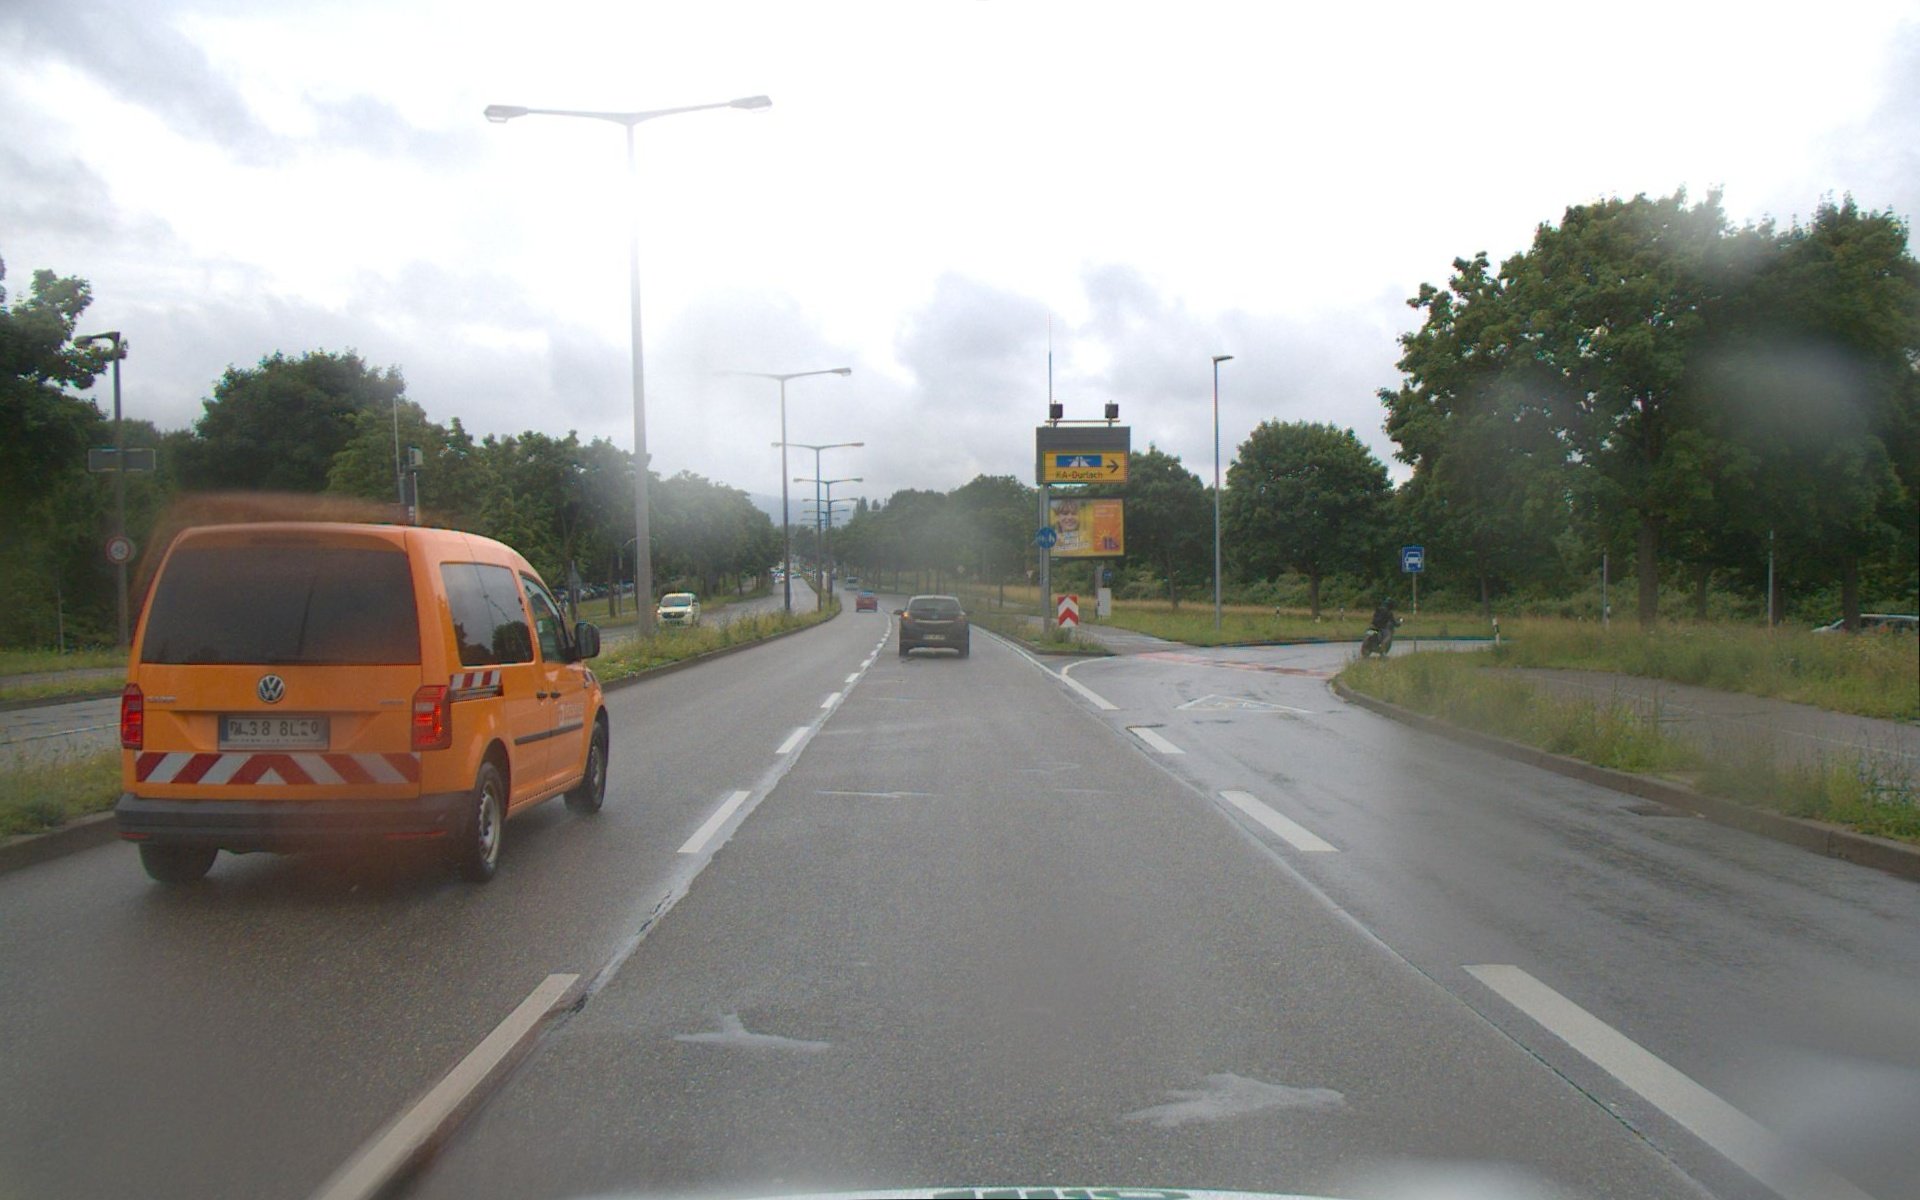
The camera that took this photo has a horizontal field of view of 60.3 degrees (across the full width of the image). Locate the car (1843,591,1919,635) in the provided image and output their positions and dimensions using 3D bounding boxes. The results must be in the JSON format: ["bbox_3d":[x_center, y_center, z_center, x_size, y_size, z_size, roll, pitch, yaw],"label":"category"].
[{"bbox_3d":[44.330,0.600,78.256,4.506,2.009,2.062,0,0,29],"label":"car"}]

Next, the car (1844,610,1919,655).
[{"bbox_3d":[36.236,1.225,63.272,3.908,1.646,1.859,1,0,-4],"label":"car"}]

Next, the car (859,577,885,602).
[{"bbox_3d":[-6.748,-0.784,127.115,1.953,1.912,3.998,0,0,-2],"label":"car"}]

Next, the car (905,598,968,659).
[{"bbox_3d":[-0.598,0.652,39.853,1.433,1.352,3.756,0,1,-2],"label":"car"}]

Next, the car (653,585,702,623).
[{"bbox_3d":[-13.475,0.166,79.145,1.673,1.658,4.490,-3,1,-2],"label":"car"}]

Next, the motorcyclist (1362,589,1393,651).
[{"bbox_3d":[11.819,0.554,46.803,0.590,1.719,0.858,1,1,33],"label":"motorcyclist"}]

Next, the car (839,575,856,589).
[{"bbox_3d":[-17.495,-2.728,256.541,2.467,2.088,5.287,-1,0,-6],"label":"car"}]

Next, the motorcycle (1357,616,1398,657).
[{"bbox_3d":[11.828,1.024,46.828,0.590,1.112,1.727,1,1,33],"label":"motorcycle"}]

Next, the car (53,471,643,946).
[{"bbox_3d":[-3.148,0.477,9.690,1.699,2.054,4.848,1,0,-1],"label":"car"}]
